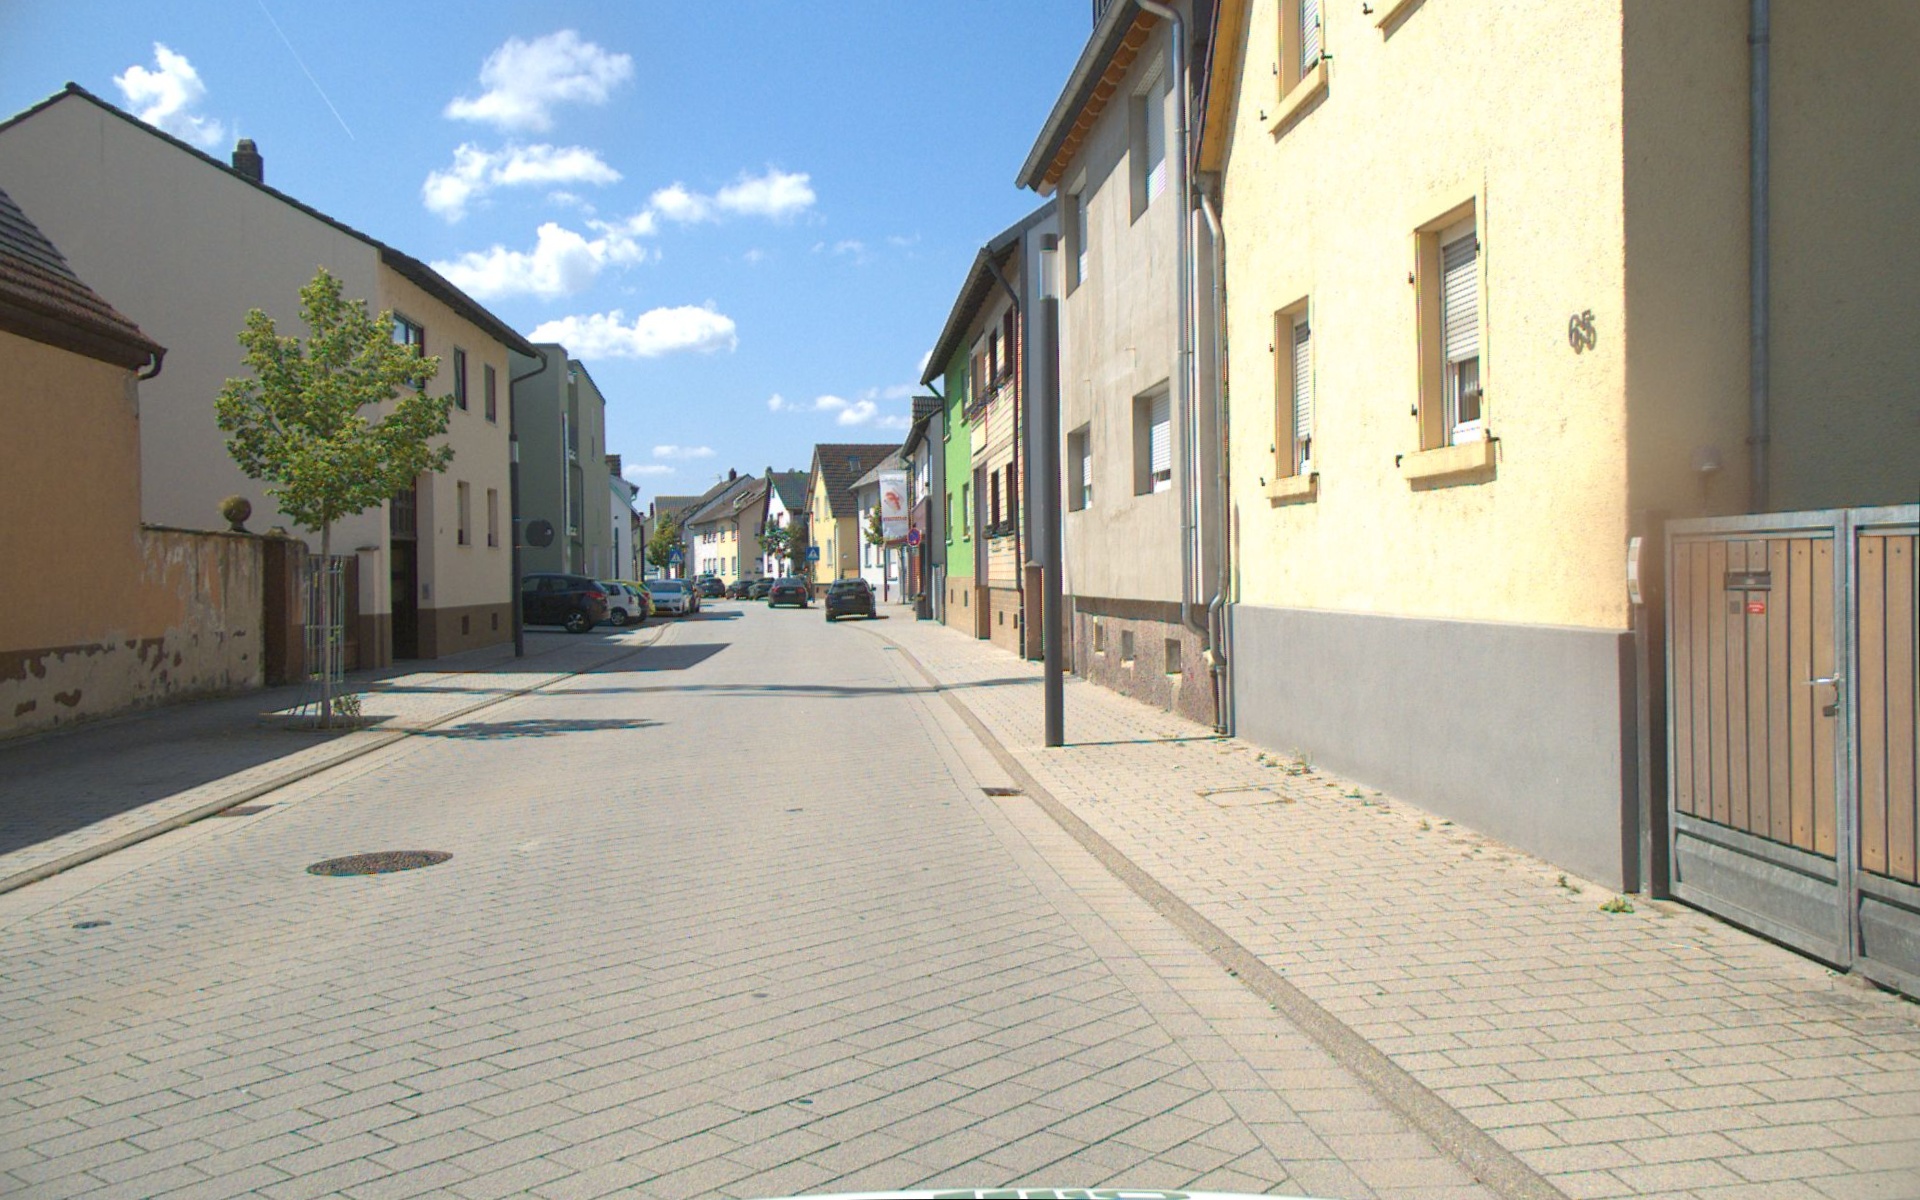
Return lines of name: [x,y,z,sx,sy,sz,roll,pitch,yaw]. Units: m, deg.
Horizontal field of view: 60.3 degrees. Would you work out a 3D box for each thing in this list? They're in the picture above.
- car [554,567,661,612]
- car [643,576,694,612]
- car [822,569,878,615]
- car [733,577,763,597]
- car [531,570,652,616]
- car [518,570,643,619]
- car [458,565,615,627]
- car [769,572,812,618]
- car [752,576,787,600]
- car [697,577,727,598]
car: [-12.988,-0.409,61.099,3.619,1.552,1.671,1,1,-4]
car: [-12.172,-0.273,69.275,1.723,1.435,3.874,1,1,-5]
car: [-4.029,-0.330,60.995,1.821,1.484,4.585,-3,1,-2]
car: [-15.941,-0.985,124.245,1.683,1.411,3.689,-2,2,-16]
car: [-12.880,-0.248,57.964,3.909,1.466,1.690,2,1,-5]
car: [-12.785,-0.197,55.828,3.823,1.528,1.750,1,1,-4]
car: [-12.221,-0.125,47.955,4.137,1.687,1.782,1,1,-6]
car: [-8.362,-0.274,81.194,1.956,2.093,4.367,-2,1,-7]
car: [-13.486,-0.865,116.772,1.817,1.590,3.677,-2,2,-16]
car: [-20.579,-1.038,137.109,1.847,1.619,3.982,-2,2,-16]
